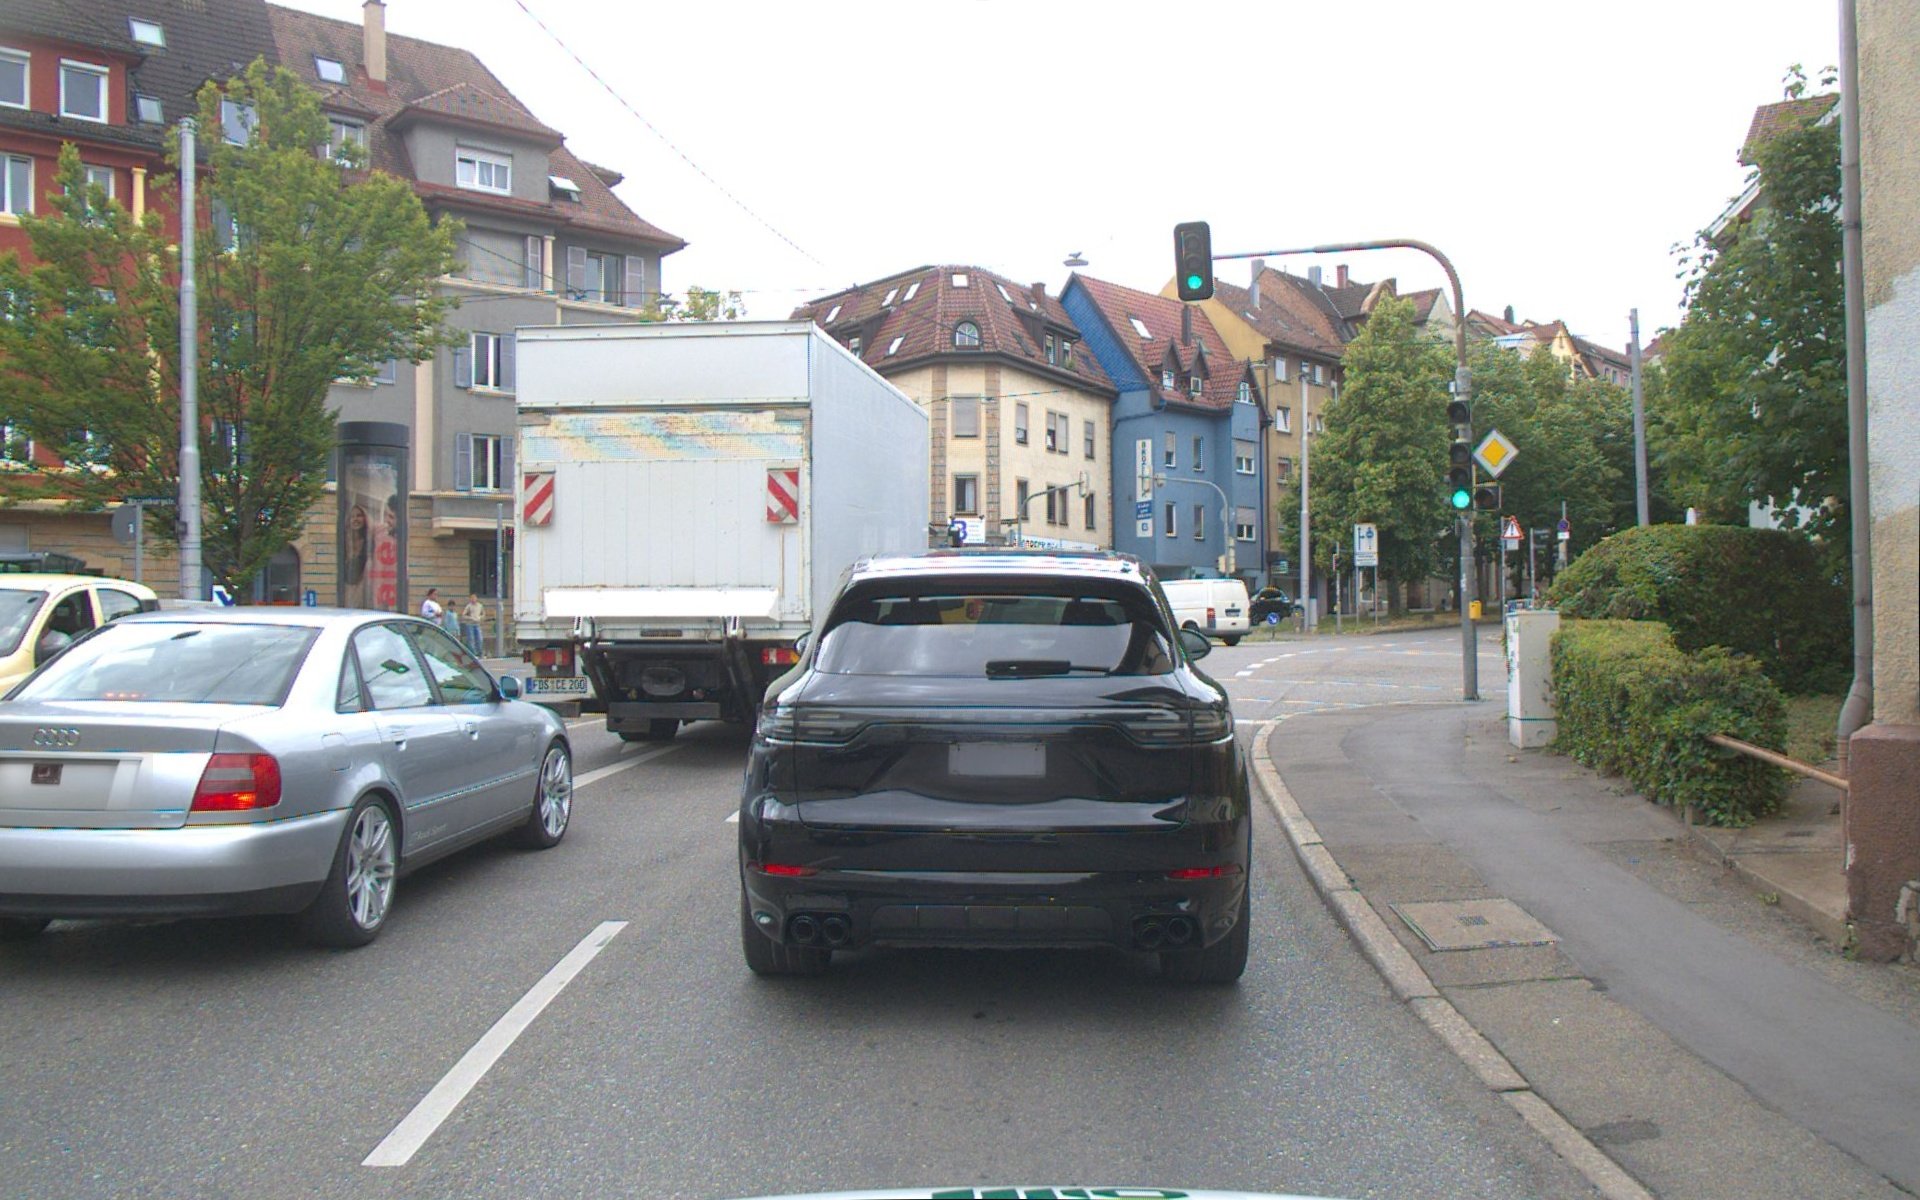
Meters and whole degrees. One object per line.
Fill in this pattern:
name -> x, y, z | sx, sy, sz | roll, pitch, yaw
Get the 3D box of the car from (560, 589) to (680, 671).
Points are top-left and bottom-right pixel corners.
car -> -6.416, 0.536, 31.528 | 1.565, 1.472, 3.530 | 0, 0, -1

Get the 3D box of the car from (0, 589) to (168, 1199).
car -> -2.691, 0.714, 1.203 | 1.953, 1.454, 4.841 | 0, 0, -1

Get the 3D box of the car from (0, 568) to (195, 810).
car -> -6.958, 0.589, 11.728 | 1.566, 1.544, 3.457 | -1, 0, -3

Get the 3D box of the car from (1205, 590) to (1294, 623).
car -> 13.421, 0.316, 76.525 | 1.843, 1.441, 4.667 | -2, -2, 43

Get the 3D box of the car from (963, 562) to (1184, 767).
car -> 1.125, 0.513, 14.795 | 1.613, 1.583, 3.586 | 1, 0, 9

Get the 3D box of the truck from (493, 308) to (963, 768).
truck -> -1.860, -0.529, 17.326 | 2.667, 3.606, 8.428 | 1, 0, 7

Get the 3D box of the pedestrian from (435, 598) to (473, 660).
pedestrian -> -11.284, 0.636, 36.858 | 0.563, 1.361, 0.583 | 0, 0, 28

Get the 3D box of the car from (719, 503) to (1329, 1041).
car -> 0.183, 0.548, 7.720 | 1.990, 1.753, 4.499 | 1, 1, -1

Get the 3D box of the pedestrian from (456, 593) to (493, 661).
pedestrian -> -10.985, 0.599, 37.437 | 0.512, 1.513, 0.653 | 1, 0, 25

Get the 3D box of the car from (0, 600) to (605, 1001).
car -> -3.095, 0.717, 7.939 | 1.594, 1.389, 4.130 | -1, 0, 4

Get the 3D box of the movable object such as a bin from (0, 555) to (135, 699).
movable object such as a bin -> -13.946, 0.382, 25.471 | 1.351, 2.049, 3.525 | -1, 0, -12

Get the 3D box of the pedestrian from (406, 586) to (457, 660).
pedestrian -> -11.543, 0.493, 36.131 | 0.777, 1.573, 0.737 | 1, 0, 27

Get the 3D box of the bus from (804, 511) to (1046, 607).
bus -> -1.625, -1.405, 62.788 | 3.130, 3.150, 12.003 | -1, -1, -34

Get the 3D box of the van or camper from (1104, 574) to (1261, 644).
van or camper -> 6.743, 0.257, 50.599 | 1.979, 2.049, 4.766 | 1, 0, -37
